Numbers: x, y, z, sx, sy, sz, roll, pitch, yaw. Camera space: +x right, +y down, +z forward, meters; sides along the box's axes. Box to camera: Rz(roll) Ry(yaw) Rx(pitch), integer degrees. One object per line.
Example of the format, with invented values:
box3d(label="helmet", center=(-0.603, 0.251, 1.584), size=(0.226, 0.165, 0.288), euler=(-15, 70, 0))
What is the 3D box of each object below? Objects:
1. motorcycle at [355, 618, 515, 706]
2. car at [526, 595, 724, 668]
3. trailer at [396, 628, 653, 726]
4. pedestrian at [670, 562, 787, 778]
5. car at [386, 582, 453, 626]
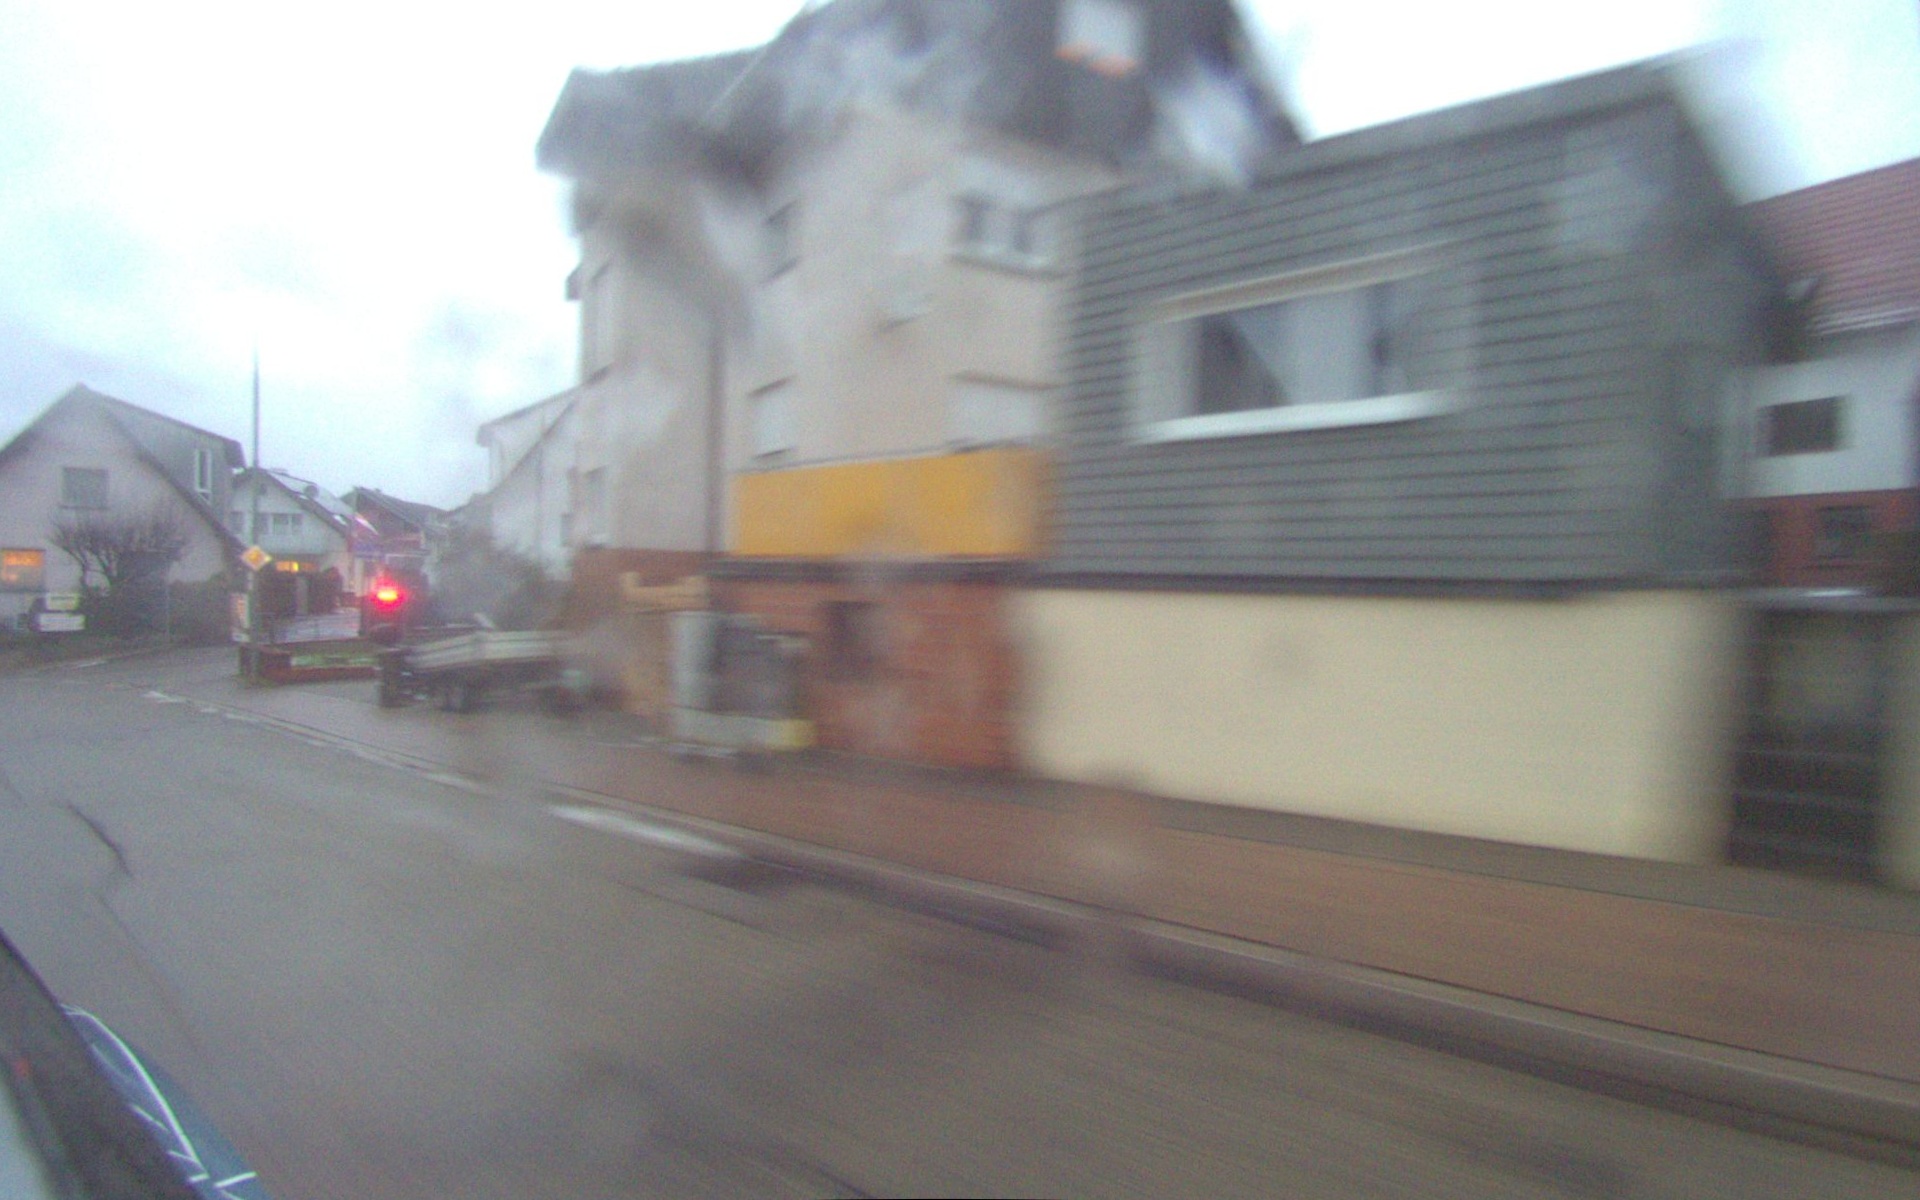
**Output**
box3d(label="motorcycle", center=(-8.981, 1.037, 17.424), size=(2.201, 1.308, 1.060), euler=(-2, 1, -12))
box3d(label="car", center=(-7.701, 0.667, 23.366), size=(3.934, 1.427, 1.922), euler=(-2, 1, -35))
box3d(label="trailer", center=(-6.699, 1.058, 15.232), size=(2.034, 1.178, 4.873), euler=(0, -1, -43))
box3d(label="pedestrian", center=(-1.987, 0.556, 8.669), size=(0.812, 1.746, 0.591), euler=(0, 2, 43))
box3d(label="car", center=(-22.960, 0.119, 43.163), size=(1.965, 1.643, 4.014), euler=(-2, 3, -21))
